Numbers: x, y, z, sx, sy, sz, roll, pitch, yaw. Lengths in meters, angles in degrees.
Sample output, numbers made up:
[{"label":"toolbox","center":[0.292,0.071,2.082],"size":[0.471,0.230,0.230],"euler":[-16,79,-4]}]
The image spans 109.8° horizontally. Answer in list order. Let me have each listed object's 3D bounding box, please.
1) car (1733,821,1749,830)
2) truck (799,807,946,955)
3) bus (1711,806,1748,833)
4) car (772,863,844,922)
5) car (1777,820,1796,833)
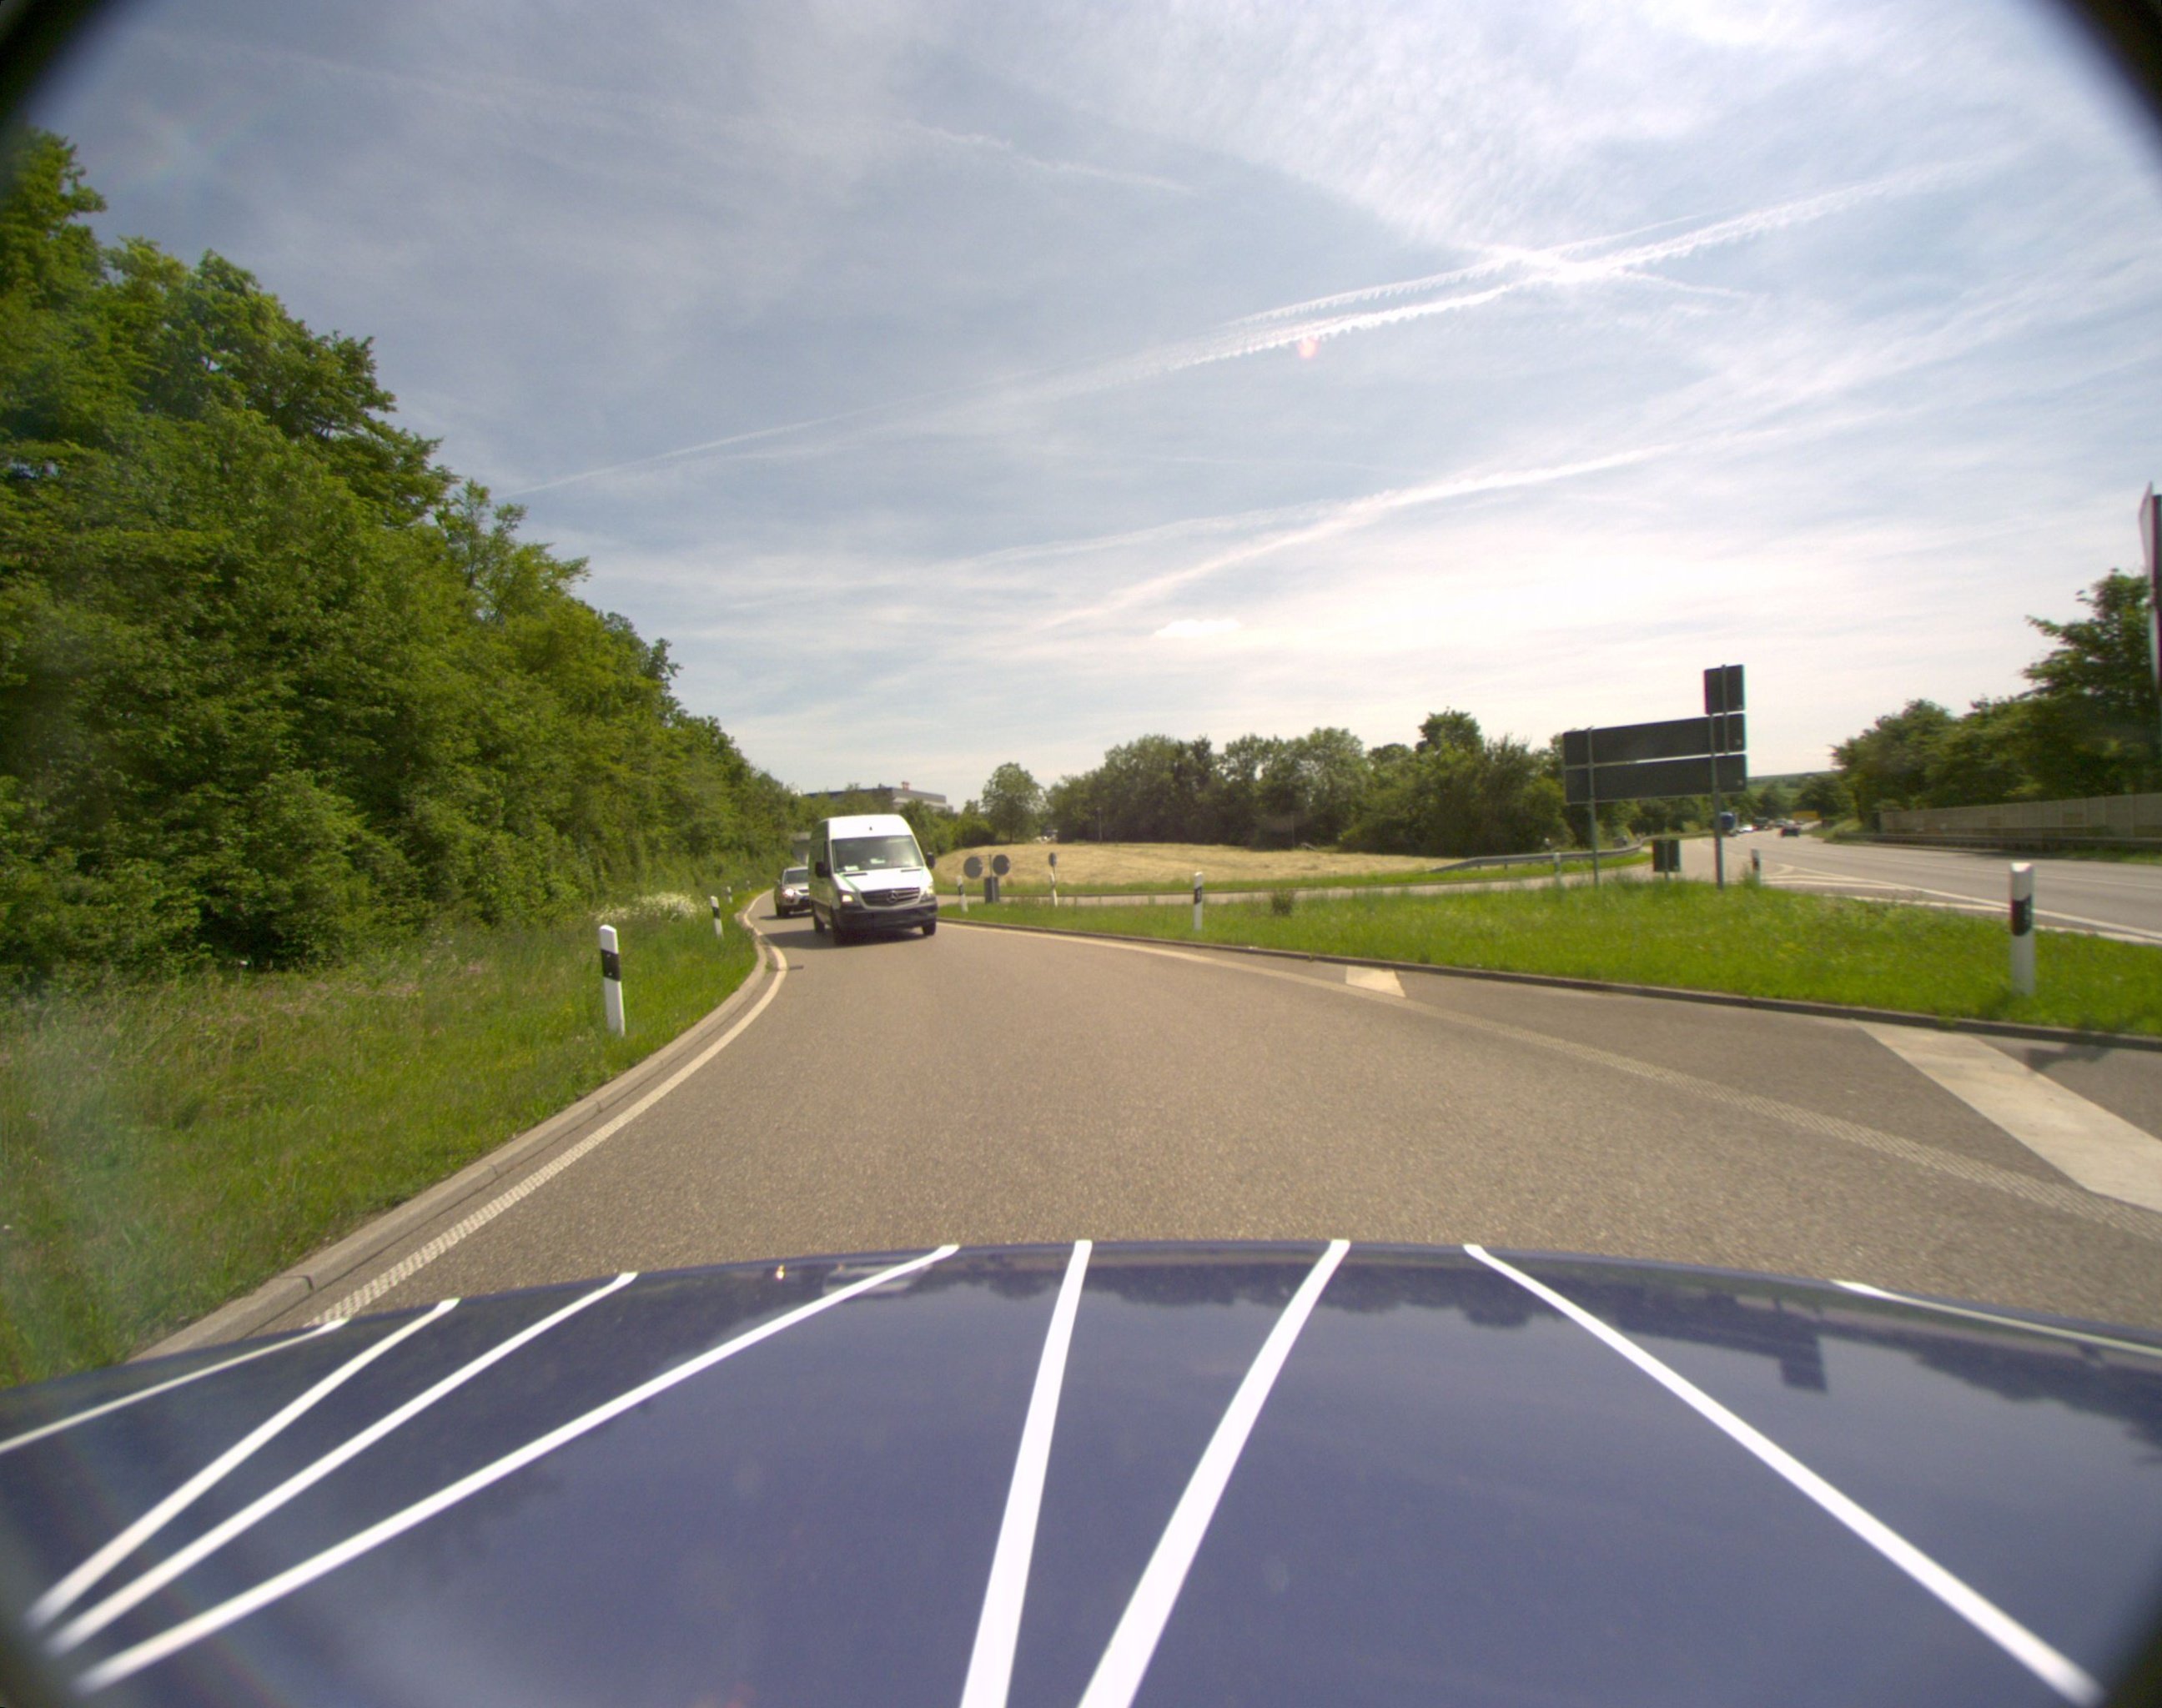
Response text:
[{"label":"car","center":[132.623,-5.735,152.639],"size":[4.008,1.632,1.994],"euler":[-3,1,-44]},{"label":"truck","center":[-4.792,0.533,16.715],"size":[2.002,2.571,5.876],"euler":[-5,1,-25]},{"label":"bus","center":[106.000,-5.670,124.083],"size":[10.532,4.046,3.344],"euler":[-3,2,-42]},{"label":"car","center":[-9.480,1.286,26.183],"size":[1.852,1.698,4.081],"euler":[-5,0,-25]},{"label":"car","center":[94.255,-3.653,101.489],"size":[1.751,1.530,4.114],"euler":[-3,0,43]}]
